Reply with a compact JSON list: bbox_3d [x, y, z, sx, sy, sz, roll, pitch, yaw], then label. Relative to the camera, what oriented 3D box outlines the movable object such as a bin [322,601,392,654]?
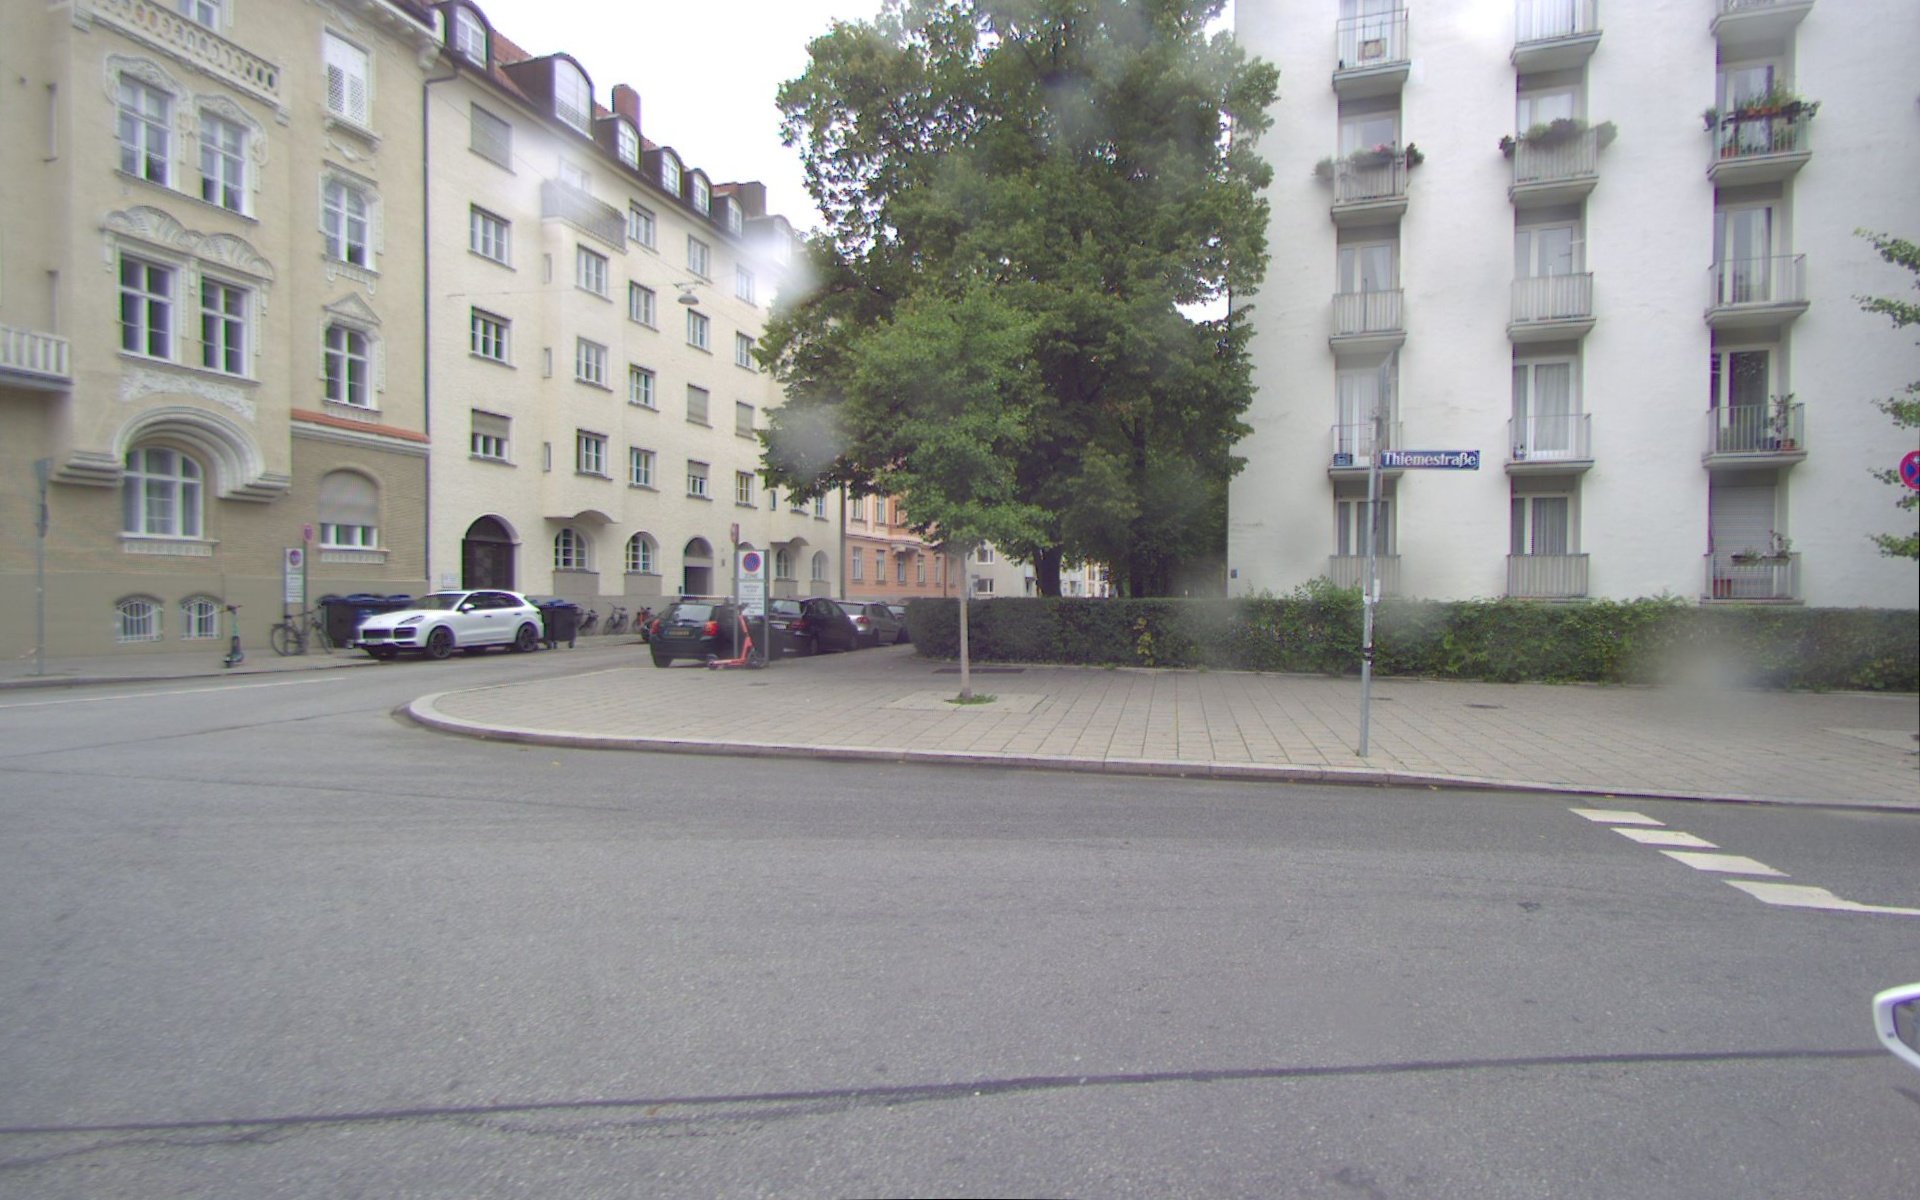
[{"bbox_3d":[-16.295,0.735,27.180,1.125,1.389,1.180,1,0,21],"label":"movable object such as a bin"}]

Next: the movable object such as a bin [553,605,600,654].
[{"bbox_3d":[-11.469,0.869,30.073,0.933,1.419,0.918,1,0,21],"label":"movable object such as a bin"}]

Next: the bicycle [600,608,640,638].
[{"bbox_3d":[-12.811,0.858,37.894,0.640,1.083,1.816,0,0,11],"label":"bicycle"}]

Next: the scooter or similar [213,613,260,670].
[{"bbox_3d":[-14.894,0.831,20.708,0.535,1.123,1.338,0,0,-25],"label":"scooter or similar"}]

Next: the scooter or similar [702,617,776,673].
[{"bbox_3d":[-4.242,0.853,19.346,1.285,1.038,0.529,0,0,7],"label":"scooter or similar"}]

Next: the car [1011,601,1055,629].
[{"bbox_3d":[4.118,0.811,56.138,1.642,1.476,3.677,-2,-1,18],"label":"car"}]

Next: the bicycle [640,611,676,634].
[{"bbox_3d":[-12.199,0.899,40.654,0.640,0.914,1.816,0,0,11],"label":"bicycle"}]

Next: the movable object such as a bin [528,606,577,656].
[{"bbox_3d":[-11.840,0.885,29.199,0.933,1.419,0.918,1,0,21],"label":"movable object such as a bin"}]

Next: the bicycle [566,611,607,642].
[{"bbox_3d":[-13.590,0.936,36.631,0.539,1.083,1.816,0,0,11],"label":"bicycle"}]

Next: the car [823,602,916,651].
[{"bbox_3d":[-2.834,0.821,32.330,1.642,1.476,3.677,-2,-1,18],"label":"car"}]

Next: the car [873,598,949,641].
[{"bbox_3d":[-1.772,0.711,37.503,1.642,1.476,3.677,-2,-1,18],"label":"car"}]

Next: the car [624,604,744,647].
[{"bbox_3d":[-9.623,0.861,35.416,1.960,1.376,4.479,1,0,18],"label":"car"}]

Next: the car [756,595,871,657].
[{"bbox_3d":[-3.949,0.683,27.584,1.642,1.548,3.677,-2,-1,18],"label":"car"}]

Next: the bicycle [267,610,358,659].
[{"bbox_3d":[-15.425,0.800,23.996,0.640,1.083,1.977,0,0,11],"label":"bicycle"}]

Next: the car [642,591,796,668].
[{"bbox_3d":[-5.244,0.626,22.333,1.642,1.548,3.677,-2,-1,18],"label":"car"}]

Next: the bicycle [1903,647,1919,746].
[{"bbox_3d":[11.596,1.086,11.019,1.749,1.100,0.754,1,0,2],"label":"bicycle"}]

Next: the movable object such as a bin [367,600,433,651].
[{"bbox_3d":[-15.764,0.715,28.310,1.125,1.389,1.180,1,0,21],"label":"movable object such as a bin"}]

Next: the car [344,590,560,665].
[{"bbox_3d":[-12.725,0.633,25.604,1.960,1.698,4.991,1,0,18],"label":"car"}]
